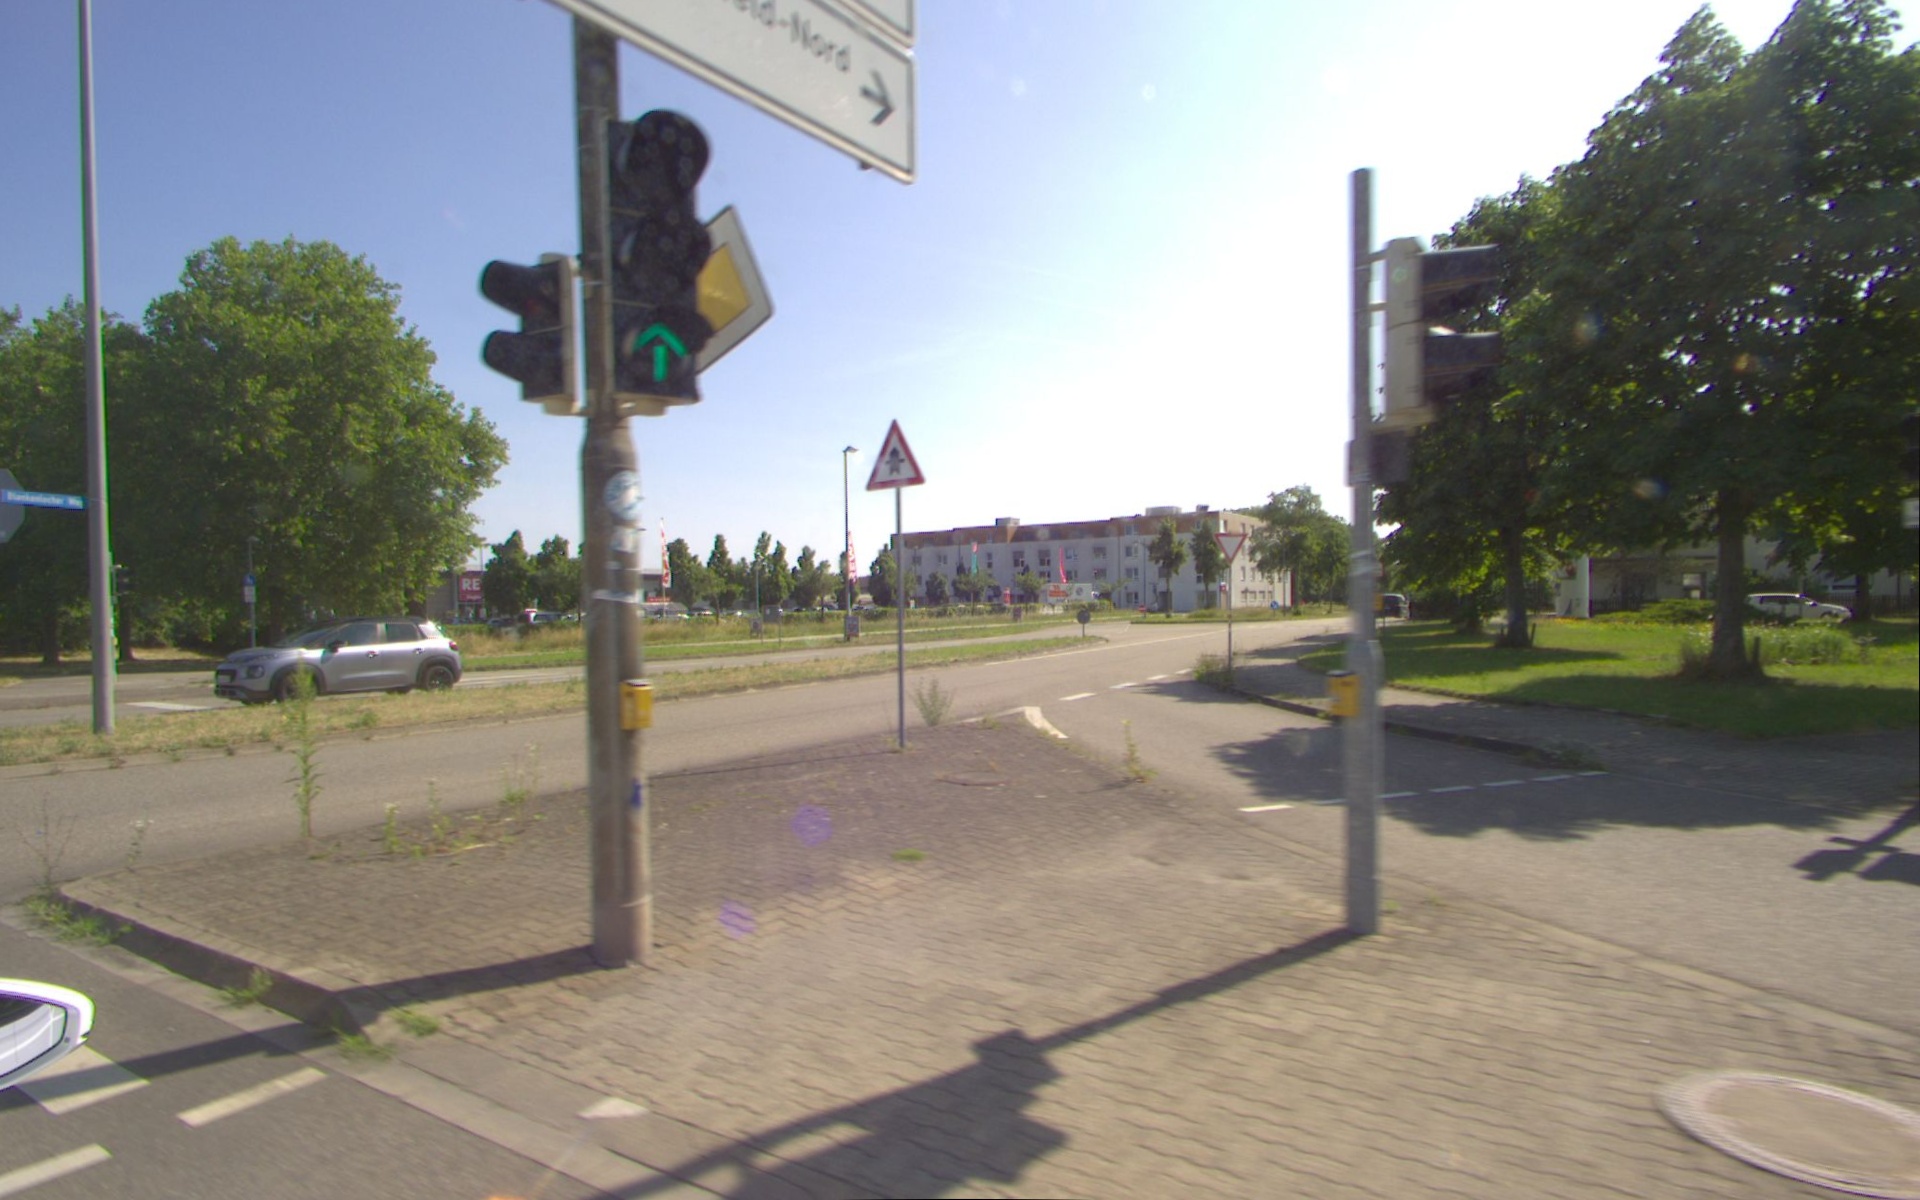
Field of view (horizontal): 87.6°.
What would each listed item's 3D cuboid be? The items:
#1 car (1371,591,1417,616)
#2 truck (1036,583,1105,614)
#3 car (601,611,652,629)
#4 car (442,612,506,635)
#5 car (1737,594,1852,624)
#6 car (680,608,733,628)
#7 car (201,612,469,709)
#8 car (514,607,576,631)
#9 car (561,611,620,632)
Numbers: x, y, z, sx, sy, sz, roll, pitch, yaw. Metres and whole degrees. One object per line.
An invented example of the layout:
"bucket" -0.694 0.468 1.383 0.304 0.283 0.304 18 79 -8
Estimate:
"car" 32.577 0.260 75.147 1.979 1.814 3.964 -1 0 43
"truck" 13.565 -0.216 122.435 8.116 3.592 2.625 -1 0 -22
"car" -34.040 2.041 102.287 1.967 1.773 4.466 -1 0 44
"car" -40.913 1.942 84.374 1.963 1.773 4.476 -1 0 37
"car" 38.897 0.419 46.788 3.945 1.305 1.722 -1 0 34
"car" -23.857 1.712 94.199 4.449 1.773 1.974 -1 0 -35
"car" -11.893 1.077 19.324 1.718 1.584 4.043 -1 0 32
"car" -31.711 1.421 76.592 1.977 1.751 3.968 -1 0 40
"car" -32.148 1.862 87.182 1.963 1.773 4.476 -1 0 37
